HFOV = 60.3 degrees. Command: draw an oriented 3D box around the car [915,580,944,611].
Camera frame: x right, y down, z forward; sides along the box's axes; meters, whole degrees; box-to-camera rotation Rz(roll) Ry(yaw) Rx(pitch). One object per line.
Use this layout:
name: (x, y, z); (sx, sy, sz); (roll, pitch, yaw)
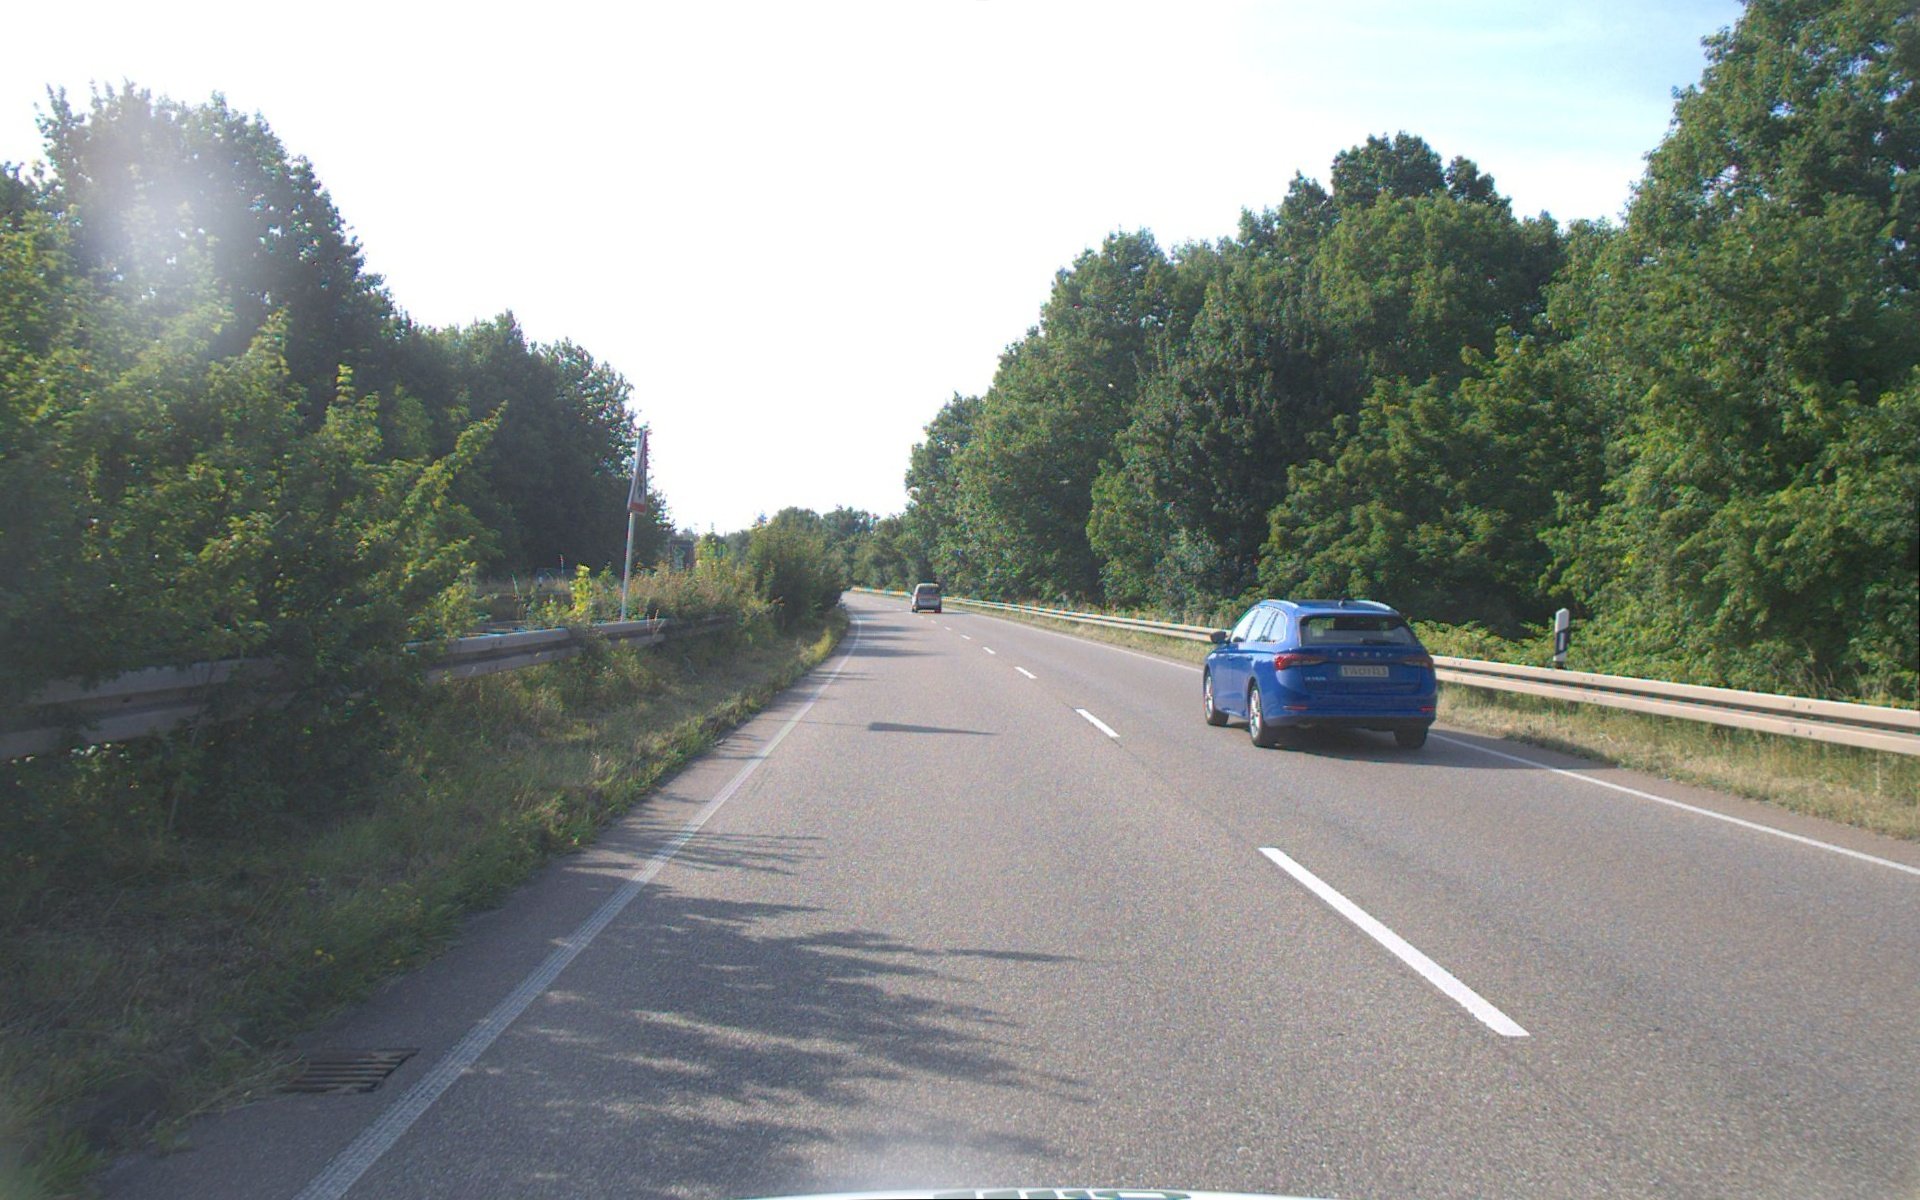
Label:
car: (-1.941, -0.303, 104.768); (1.730, 1.914, 3.999); (1, 1, -2)

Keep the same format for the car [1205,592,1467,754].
car: (3.831, 0.681, 17.537); (1.743, 1.477, 3.999); (1, 0, -2)
